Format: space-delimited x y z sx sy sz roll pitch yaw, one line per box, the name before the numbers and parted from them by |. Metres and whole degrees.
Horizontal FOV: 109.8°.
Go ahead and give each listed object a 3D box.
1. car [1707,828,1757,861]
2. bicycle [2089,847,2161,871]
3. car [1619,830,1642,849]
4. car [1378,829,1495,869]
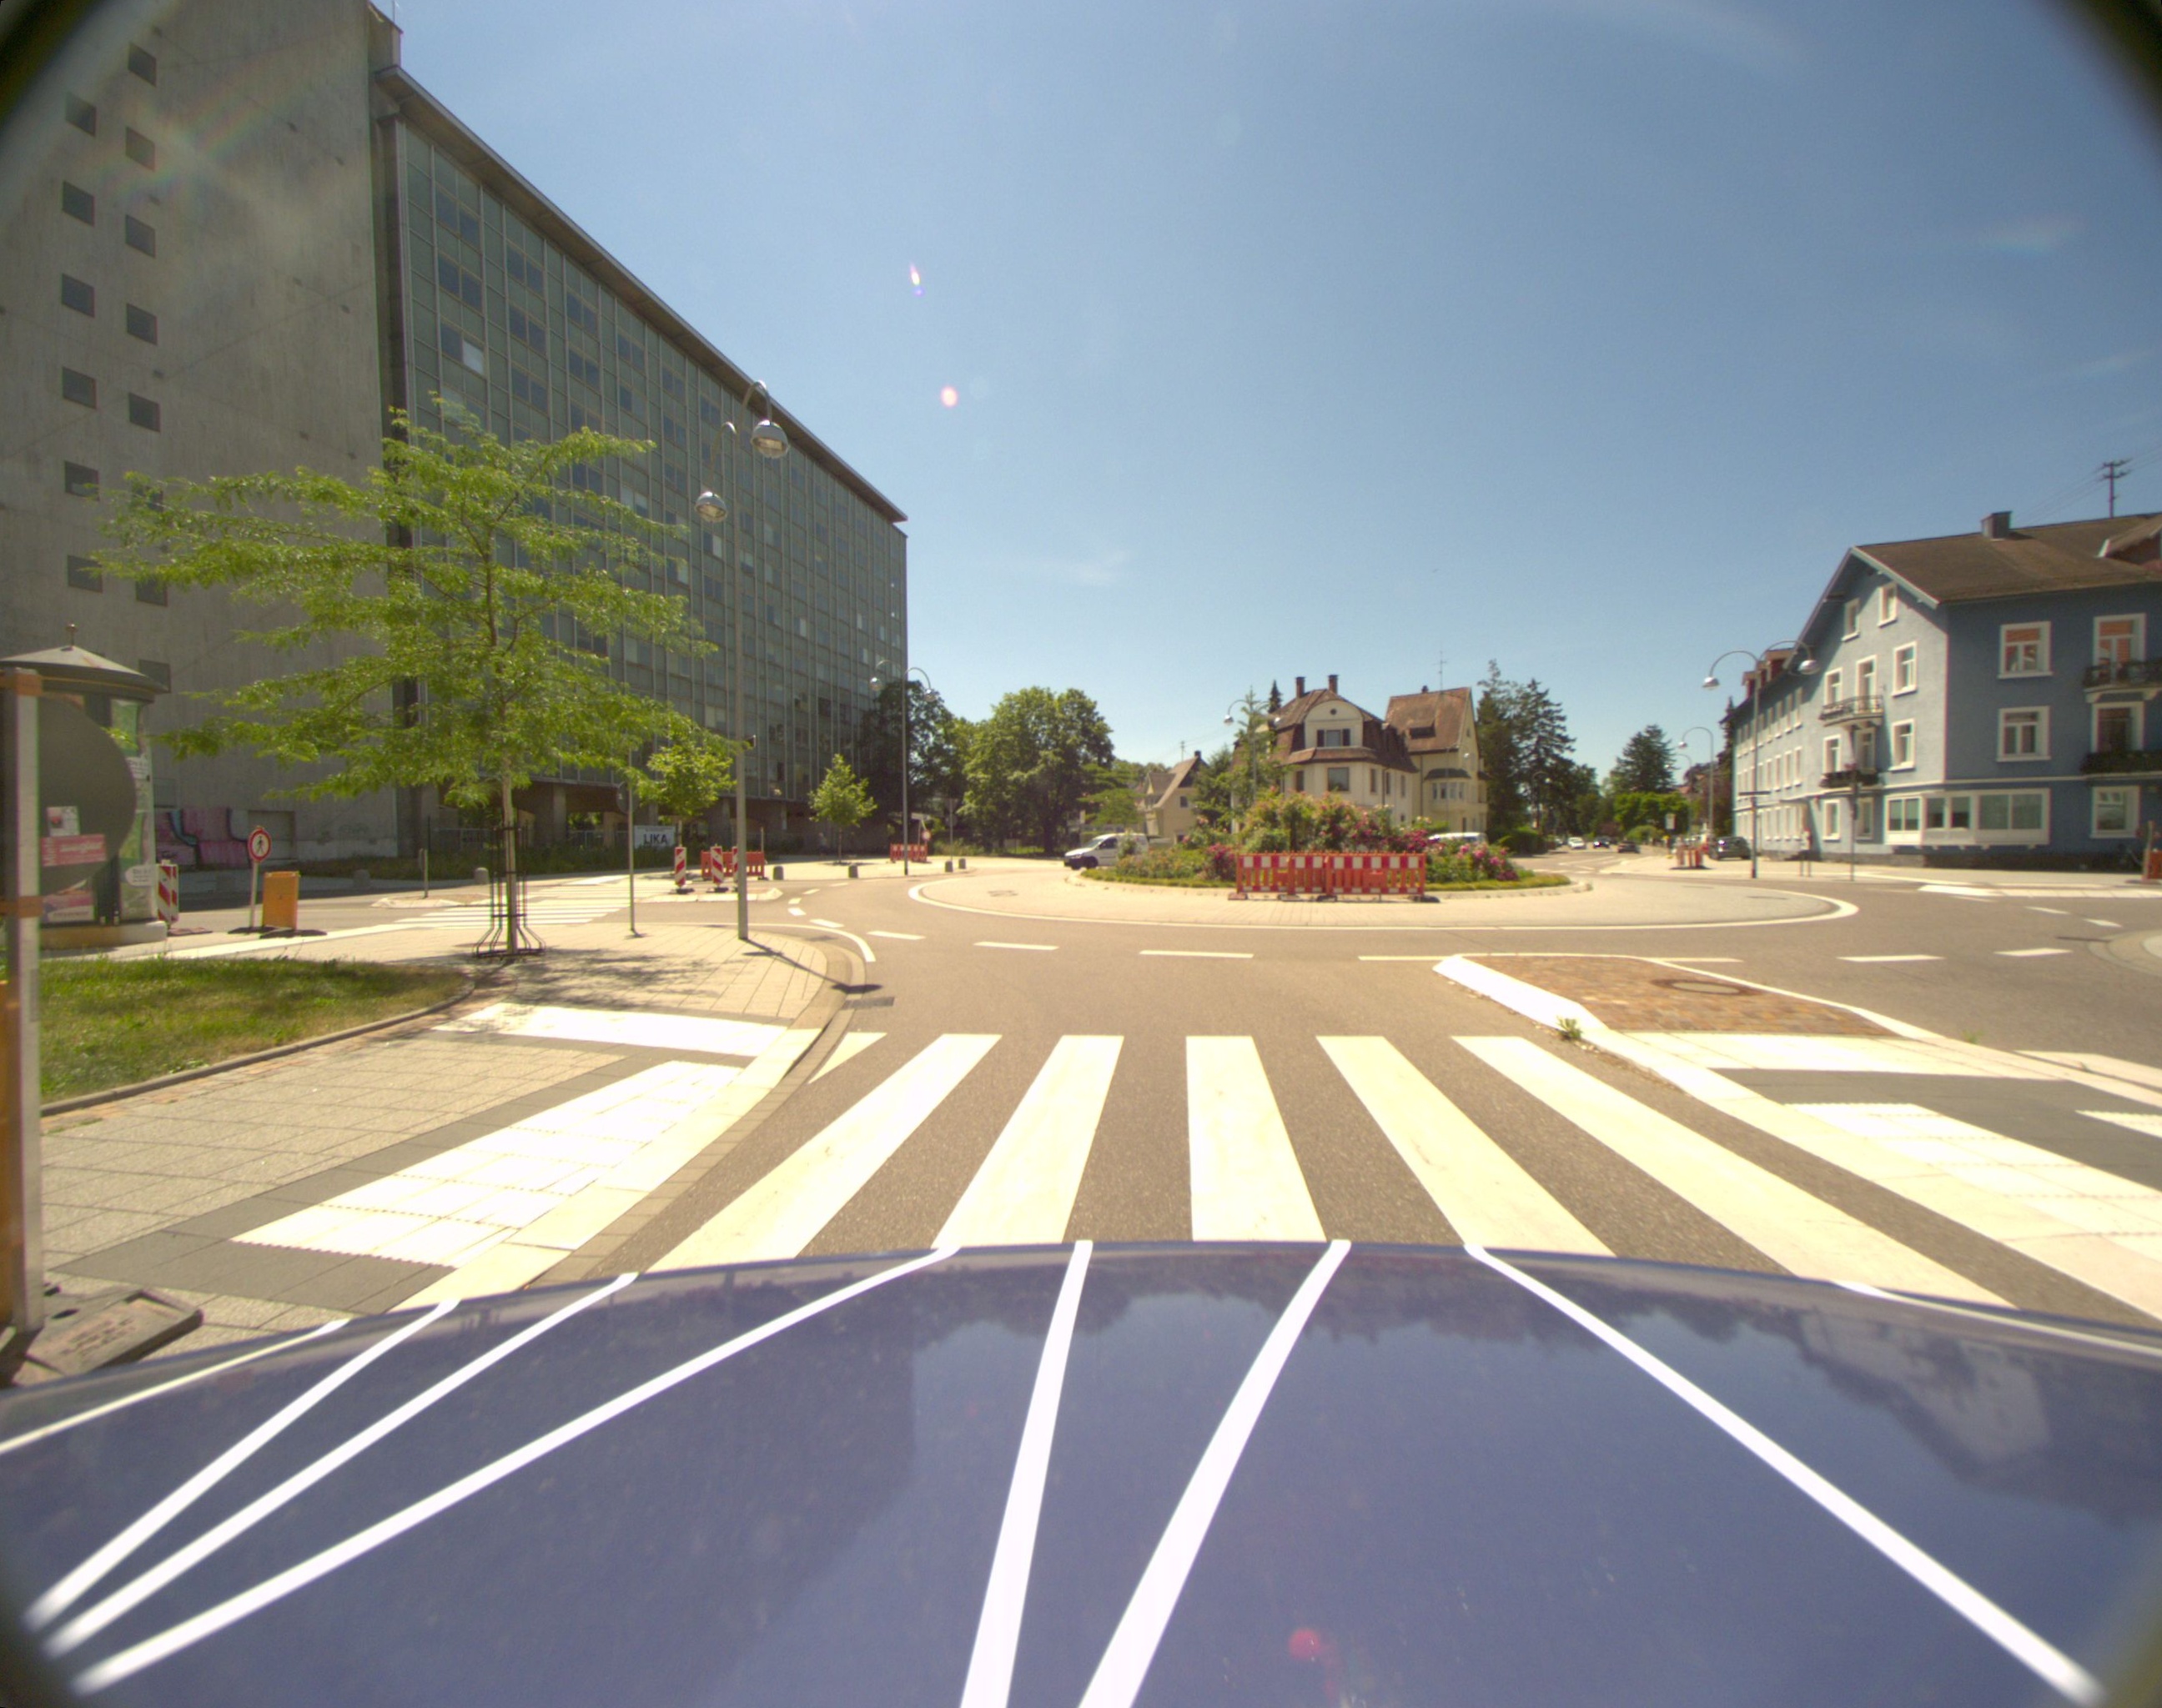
car | 41.355 -0.612 48.337 1.994 1.838 4.006 0 4 35
bicycle | 40.846 0.171 29.463 2.082 0.906 0.613 0 2 20
car | 59.791 -1.553 82.757 1.994 1.838 4.006 0 4 35
car | 16.599 -0.262 35.657 2.004 1.727 4.553 -2 2 -43
